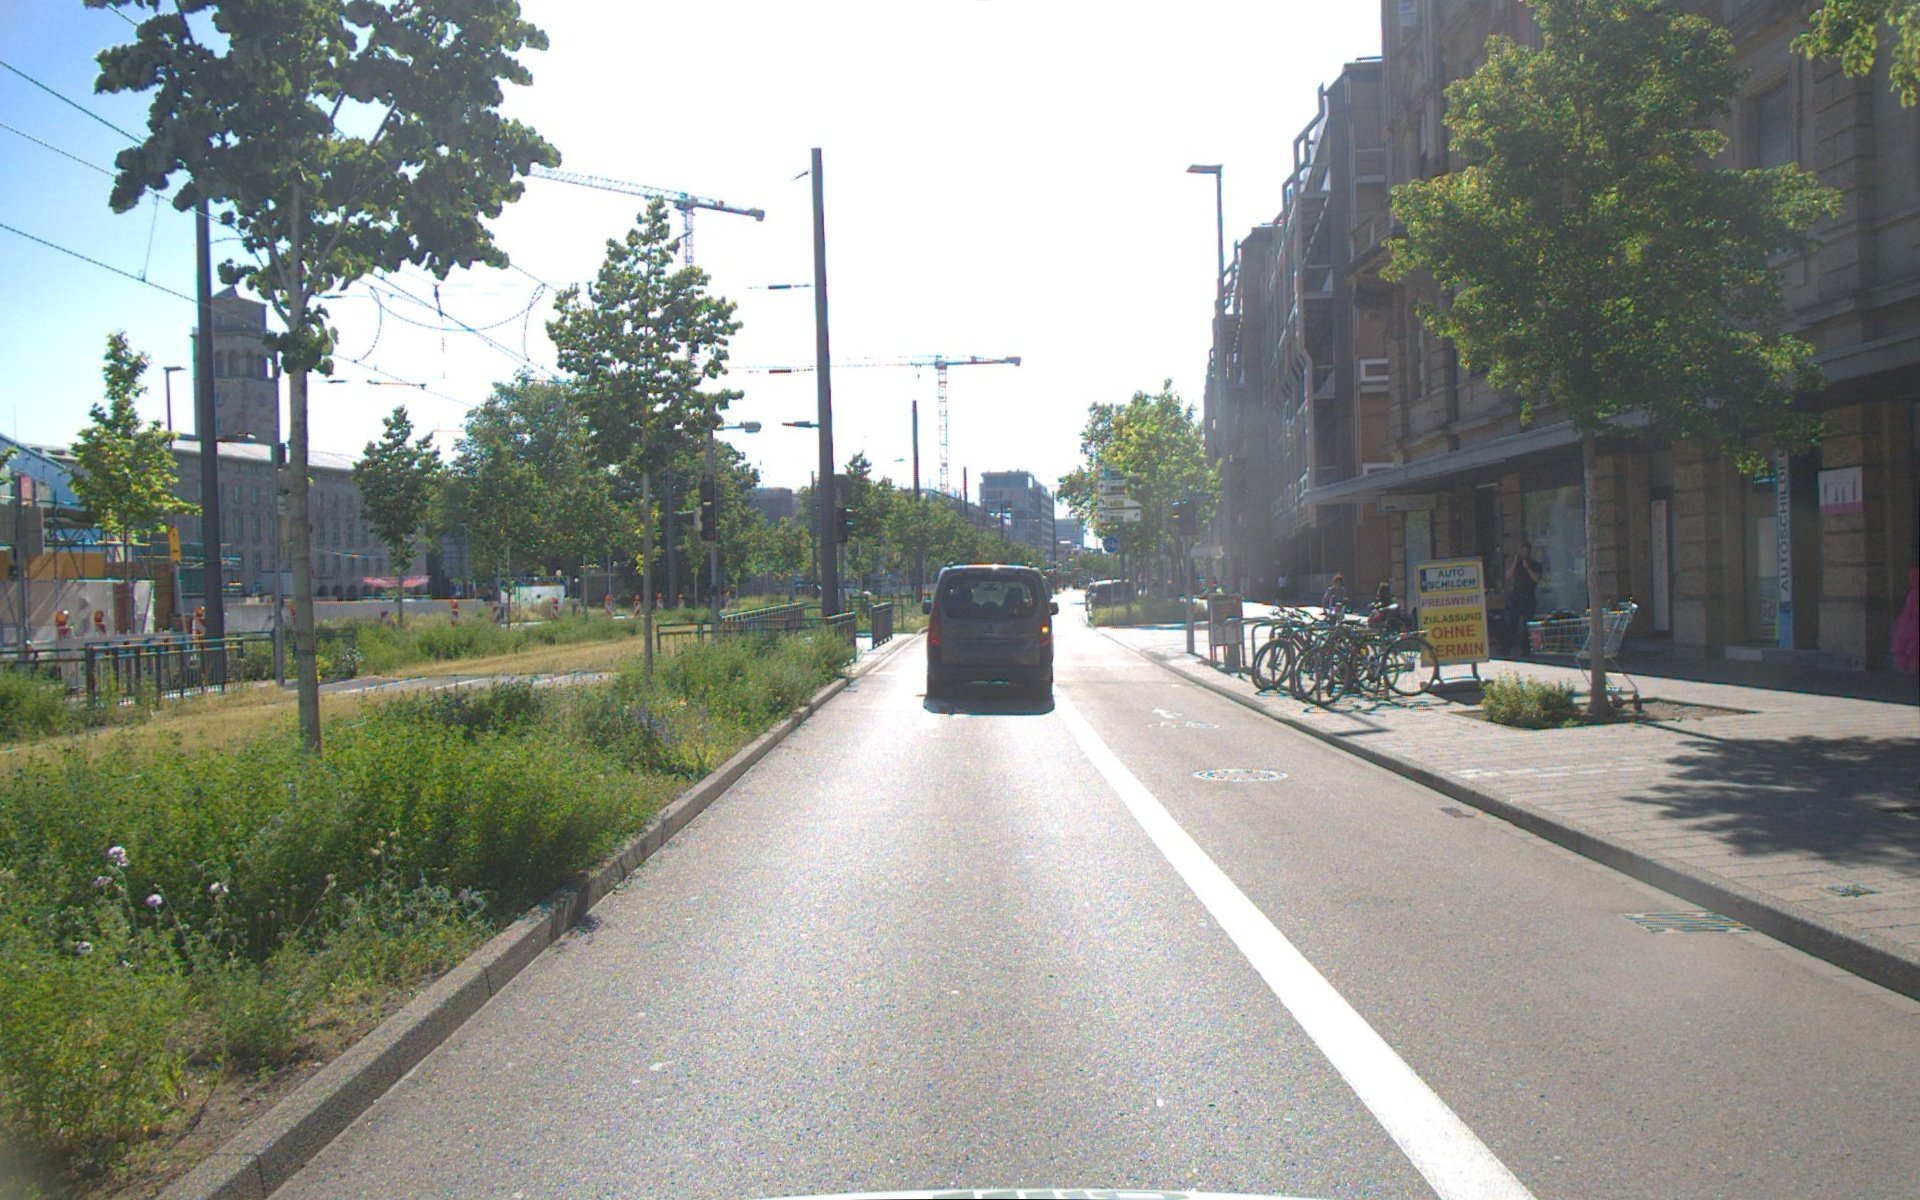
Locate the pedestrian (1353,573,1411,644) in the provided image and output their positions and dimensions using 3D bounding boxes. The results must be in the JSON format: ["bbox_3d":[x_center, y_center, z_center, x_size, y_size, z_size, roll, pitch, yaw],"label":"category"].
[{"bbox_3d":[8.240,0.161,32.353,0.815,1.310,1.007,-3,0,0],"label":"pedestrian"}]

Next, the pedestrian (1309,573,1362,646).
[{"bbox_3d":[7.449,0.188,32.834,0.688,1.359,1.011,-5,-1,-1],"label":"pedestrian"}]

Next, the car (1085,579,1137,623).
[{"bbox_3d":[6.217,0.057,68.469,1.979,1.752,4.120,0,0,3],"label":"car"}]

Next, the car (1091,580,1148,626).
[{"bbox_3d":[5.957,0.130,62.141,1.947,1.666,4.191,0,0,3],"label":"car"}]

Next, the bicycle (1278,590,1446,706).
[{"bbox_3d":[4.830,0.568,19.917,1.844,1.255,0.499,-4,0,-8],"label":"bicycle"}]

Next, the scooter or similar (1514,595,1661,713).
[{"bbox_3d":[6.475,0.545,17.120,1.195,1.125,0.783,-3,1,1],"label":"scooter or similar"}]

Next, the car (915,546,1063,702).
[{"bbox_3d":[0.360,0.293,23.856,1.953,2.049,4.000,0,1,-1],"label":"car"}]

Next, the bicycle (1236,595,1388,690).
[{"bbox_3d":[4.885,0.578,22.971,1.880,1.140,0.664,-5,0,-8],"label":"bicycle"}]

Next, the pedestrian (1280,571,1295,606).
[{"bbox_3d":[16.306,-0.572,82.354,0.685,1.681,0.724,-1,0,7],"label":"pedestrian"}]

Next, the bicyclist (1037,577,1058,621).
[{"bbox_3d":[3.244,-0.043,61.199,0.669,1.612,0.839,-1,0,-2],"label":"bicyclist"}]

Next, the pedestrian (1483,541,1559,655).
[{"bbox_3d":[8.975,-0.032,26.482,0.827,1.772,0.886,-2,-1,-1],"label":"pedestrian"}]

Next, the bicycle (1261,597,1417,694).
[{"bbox_3d":[4.912,0.583,21.455,1.791,1.097,0.664,-4,0,-8],"label":"bicycle"}]

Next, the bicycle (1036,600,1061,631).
[{"bbox_3d":[3.258,0.553,61.195,0.687,1.110,2.276,-1,0,-2],"label":"bicycle"}]
